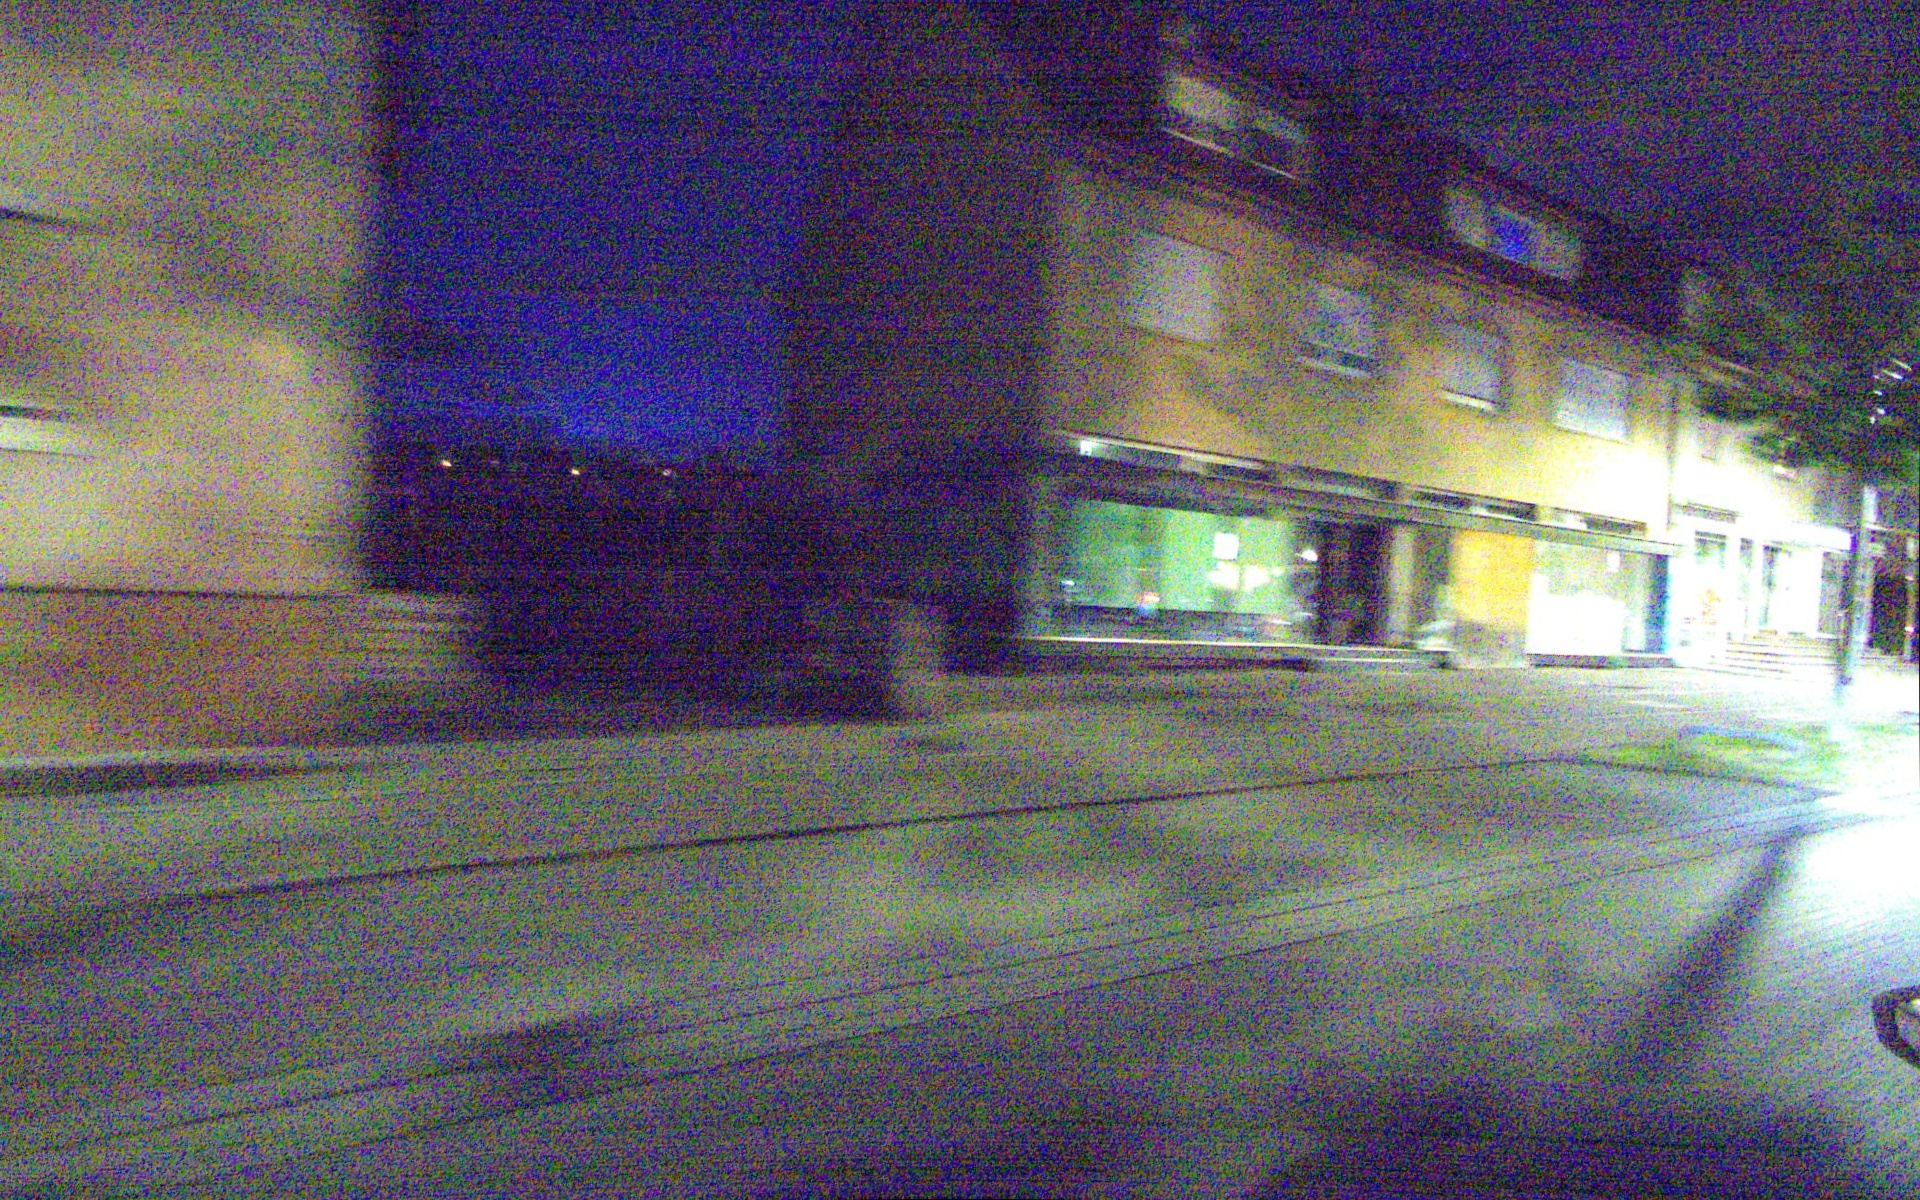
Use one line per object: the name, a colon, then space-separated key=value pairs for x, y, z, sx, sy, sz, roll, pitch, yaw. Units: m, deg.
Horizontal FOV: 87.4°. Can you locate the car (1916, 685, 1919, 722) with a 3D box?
car: x=15.891 y=0.846 z=14.269 sx=4.834 sy=1.973 sz=2.104 roll=2 pitch=4 yaw=-32
